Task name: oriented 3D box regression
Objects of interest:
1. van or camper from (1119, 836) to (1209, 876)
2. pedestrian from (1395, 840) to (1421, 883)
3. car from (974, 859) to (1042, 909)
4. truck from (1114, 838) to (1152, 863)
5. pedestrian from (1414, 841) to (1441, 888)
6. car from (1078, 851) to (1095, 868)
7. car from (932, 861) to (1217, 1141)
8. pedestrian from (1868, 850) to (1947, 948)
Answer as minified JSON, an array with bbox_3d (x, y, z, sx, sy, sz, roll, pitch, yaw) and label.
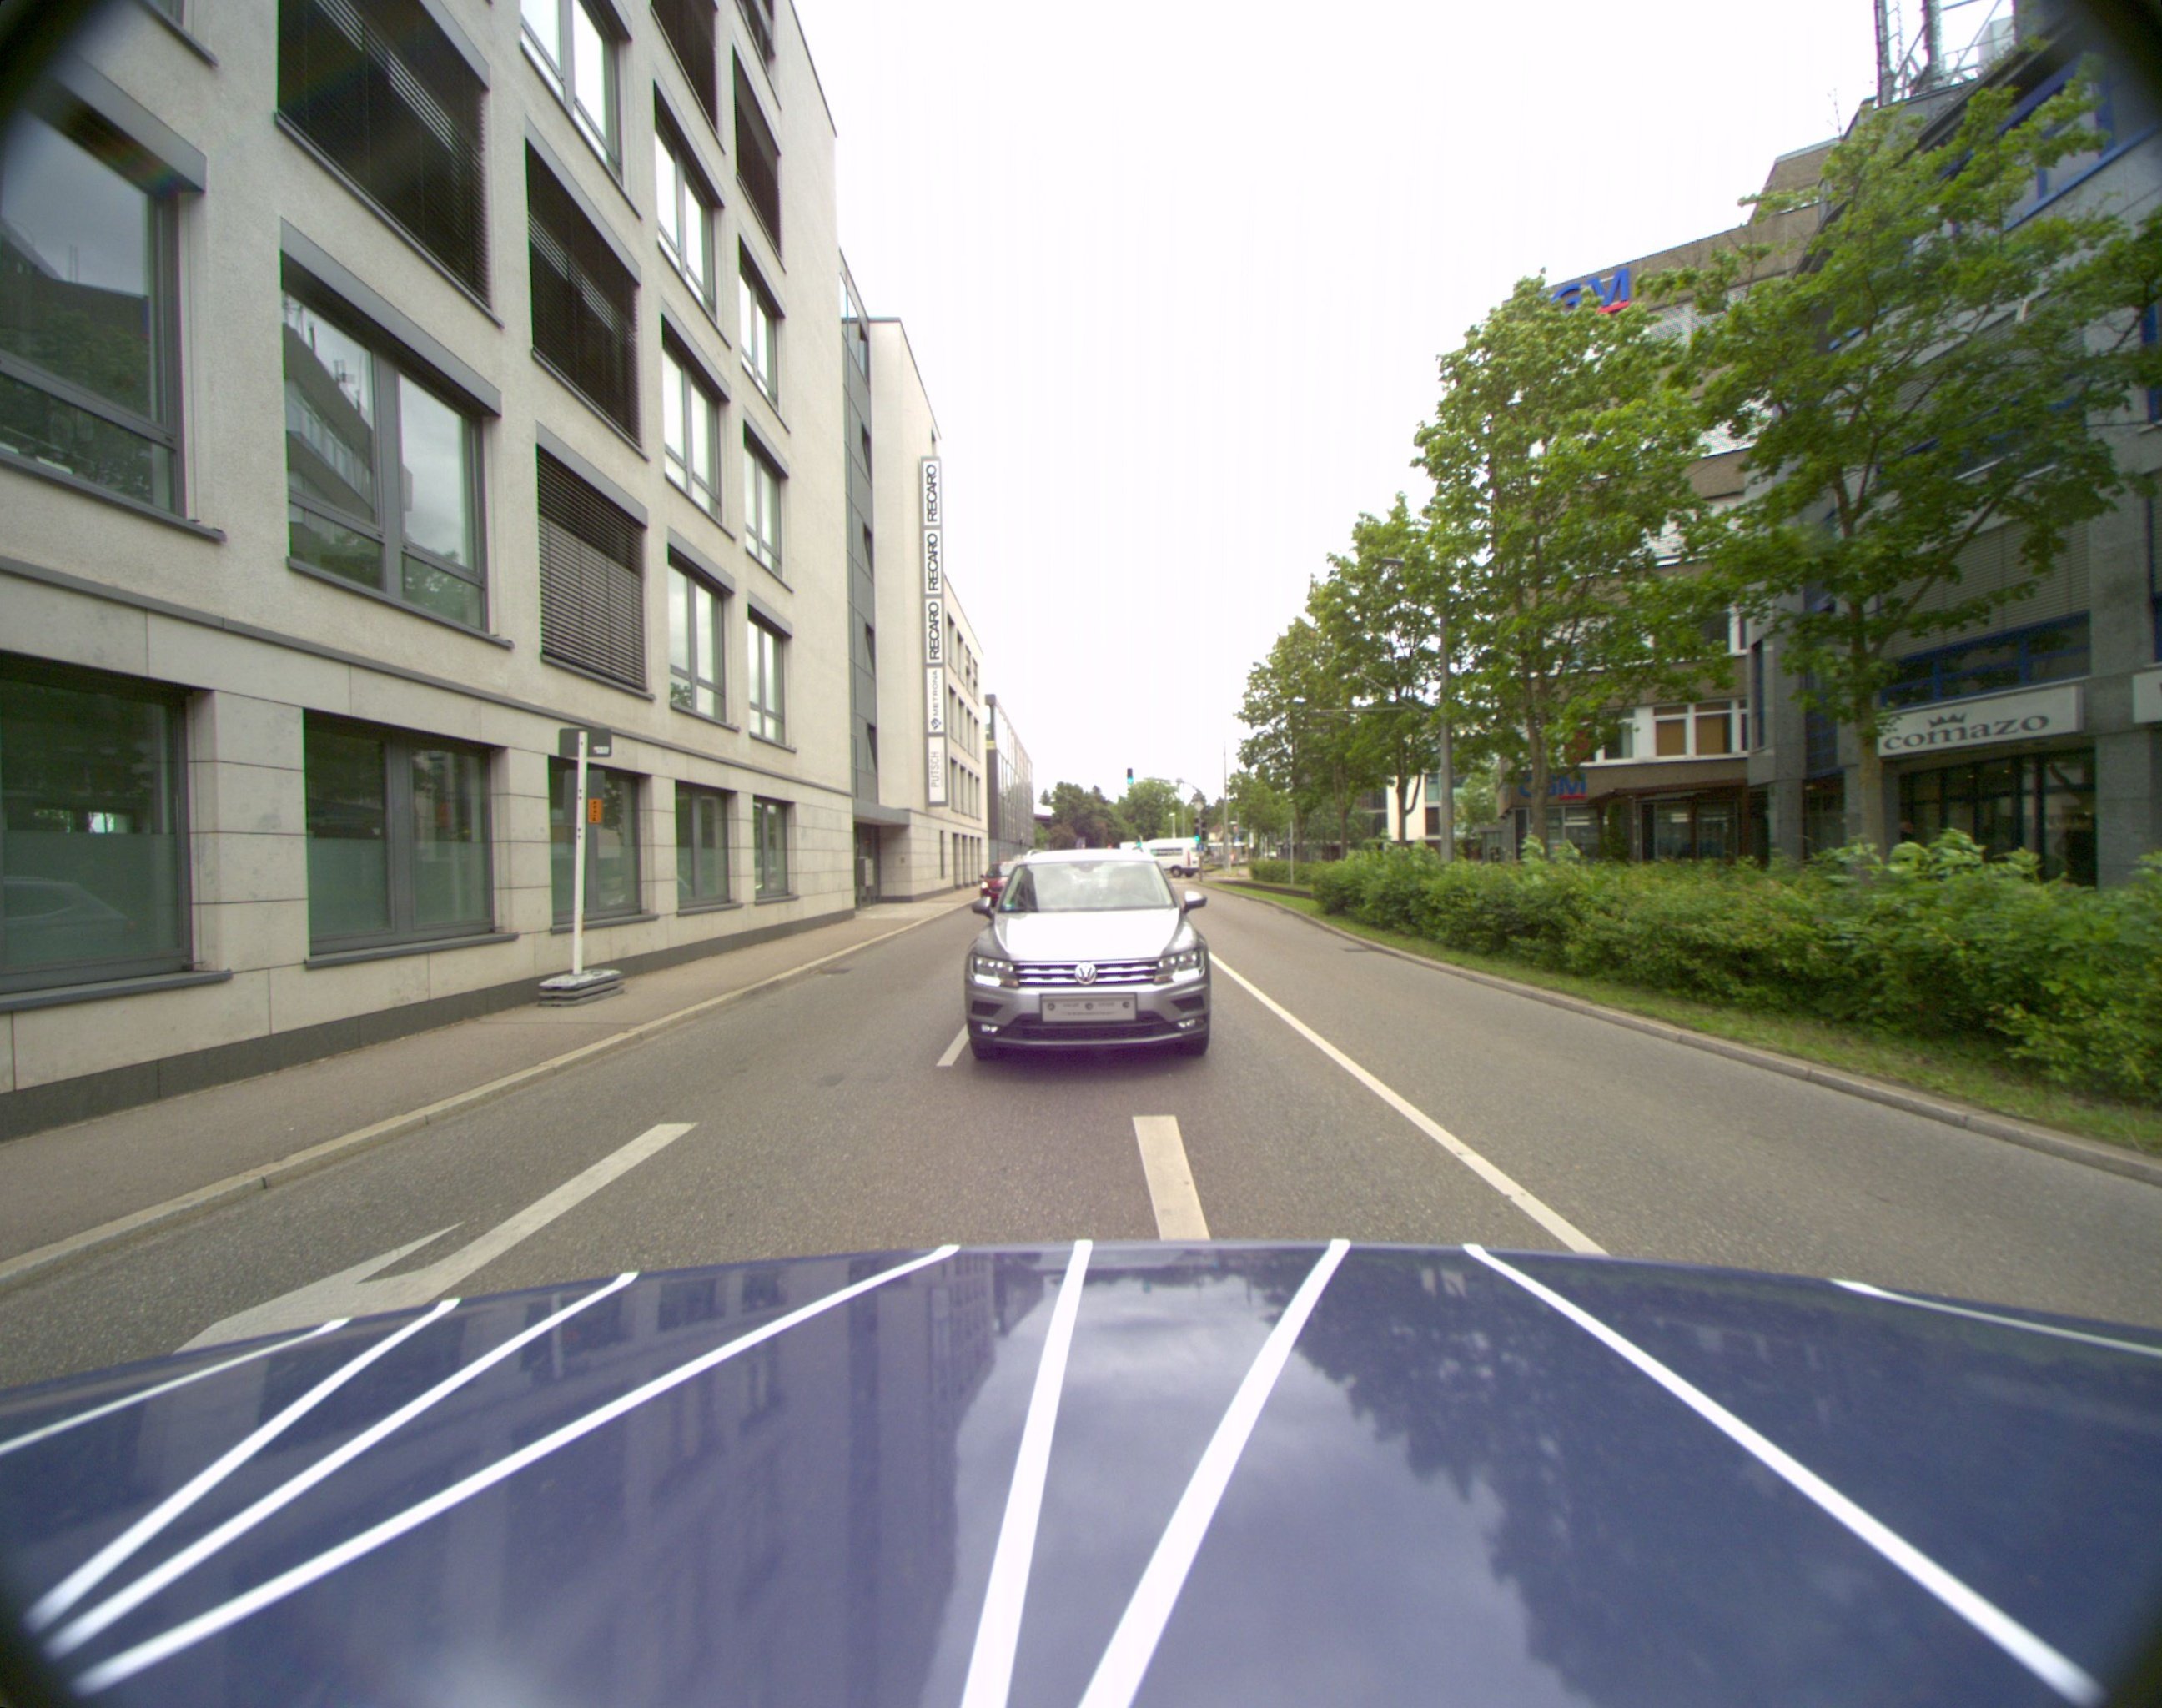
[{"bbox_3d":[5.925,0.160,54.749,6.135,2.718,2.118,-1,1,36],"label":"van or camper"},{"bbox_3d":[14.738,0.328,34.216,0.816,1.912,0.731,-2,1,0],"label":"pedestrian"},{"bbox_3d":[-2.486,0.986,26.759,1.890,1.483,4.000,-4,0,1],"label":"car"},{"bbox_3d":[8.123,-0.622,116.893,2.317,3.626,8.024,-1,1,31],"label":"truck"},{"bbox_3d":[13.406,0.405,29.412,0.680,1.795,0.731,-2,1,-4],"label":"pedestrian"},{"bbox_3d":[0.709,0.674,96.142,1.998,2.002,4.000,-2,1,1],"label":"car"},{"bbox_3d":[-0.009,0.972,7.131,1.798,1.716,4.458,-1,0,1],"label":"car"},{"bbox_3d":[16.393,0.871,15.089,0.776,1.883,0.731,-2,1,-1],"label":"pedestrian"}]
